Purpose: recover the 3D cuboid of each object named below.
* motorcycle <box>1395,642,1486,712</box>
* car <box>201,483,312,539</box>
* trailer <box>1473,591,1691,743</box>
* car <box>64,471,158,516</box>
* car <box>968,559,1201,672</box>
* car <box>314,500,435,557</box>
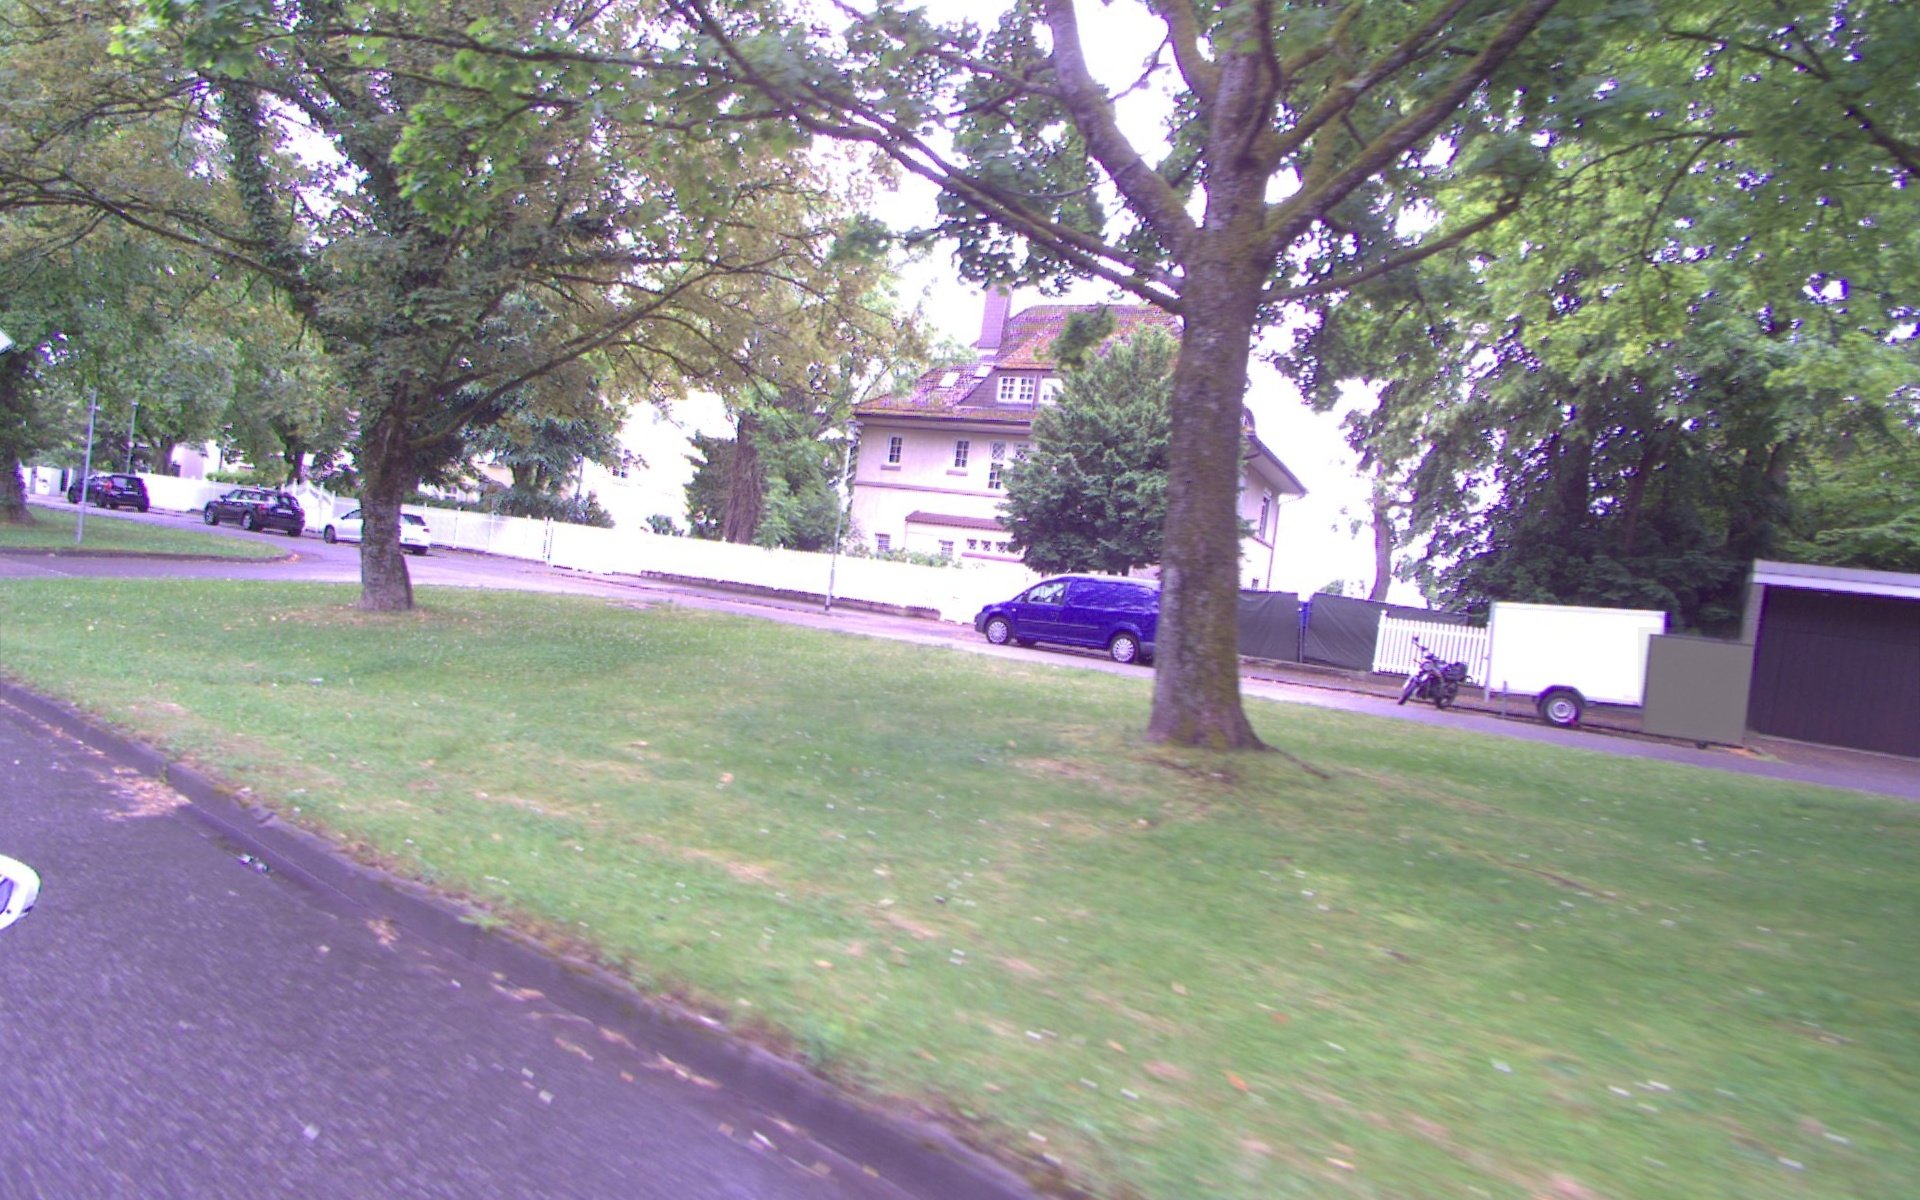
[{"bbox_3d":[8.879,1.440,18.550,1.876,1.106,0.651,7,2,-39],"label":"motorcycle"},{"bbox_3d":[-26.495,-3.357,37.874,4.042,1.550,1.803,8,2,29],"label":"car"},{"bbox_3d":[10.783,1.121,17.667,2.898,2.182,1.438,7,2,27],"label":"trailer"},{"bbox_3d":[-36.858,-4.625,43.660,4.042,1.430,1.803,8,2,29],"label":"car"},{"bbox_3d":[2.727,0.292,22.324,4.569,1.833,1.943,8,3,29],"label":"car"},{"bbox_3d":[-20.070,-2.468,34.458,3.939,1.428,1.618,8,2,27],"label":"car"}]
